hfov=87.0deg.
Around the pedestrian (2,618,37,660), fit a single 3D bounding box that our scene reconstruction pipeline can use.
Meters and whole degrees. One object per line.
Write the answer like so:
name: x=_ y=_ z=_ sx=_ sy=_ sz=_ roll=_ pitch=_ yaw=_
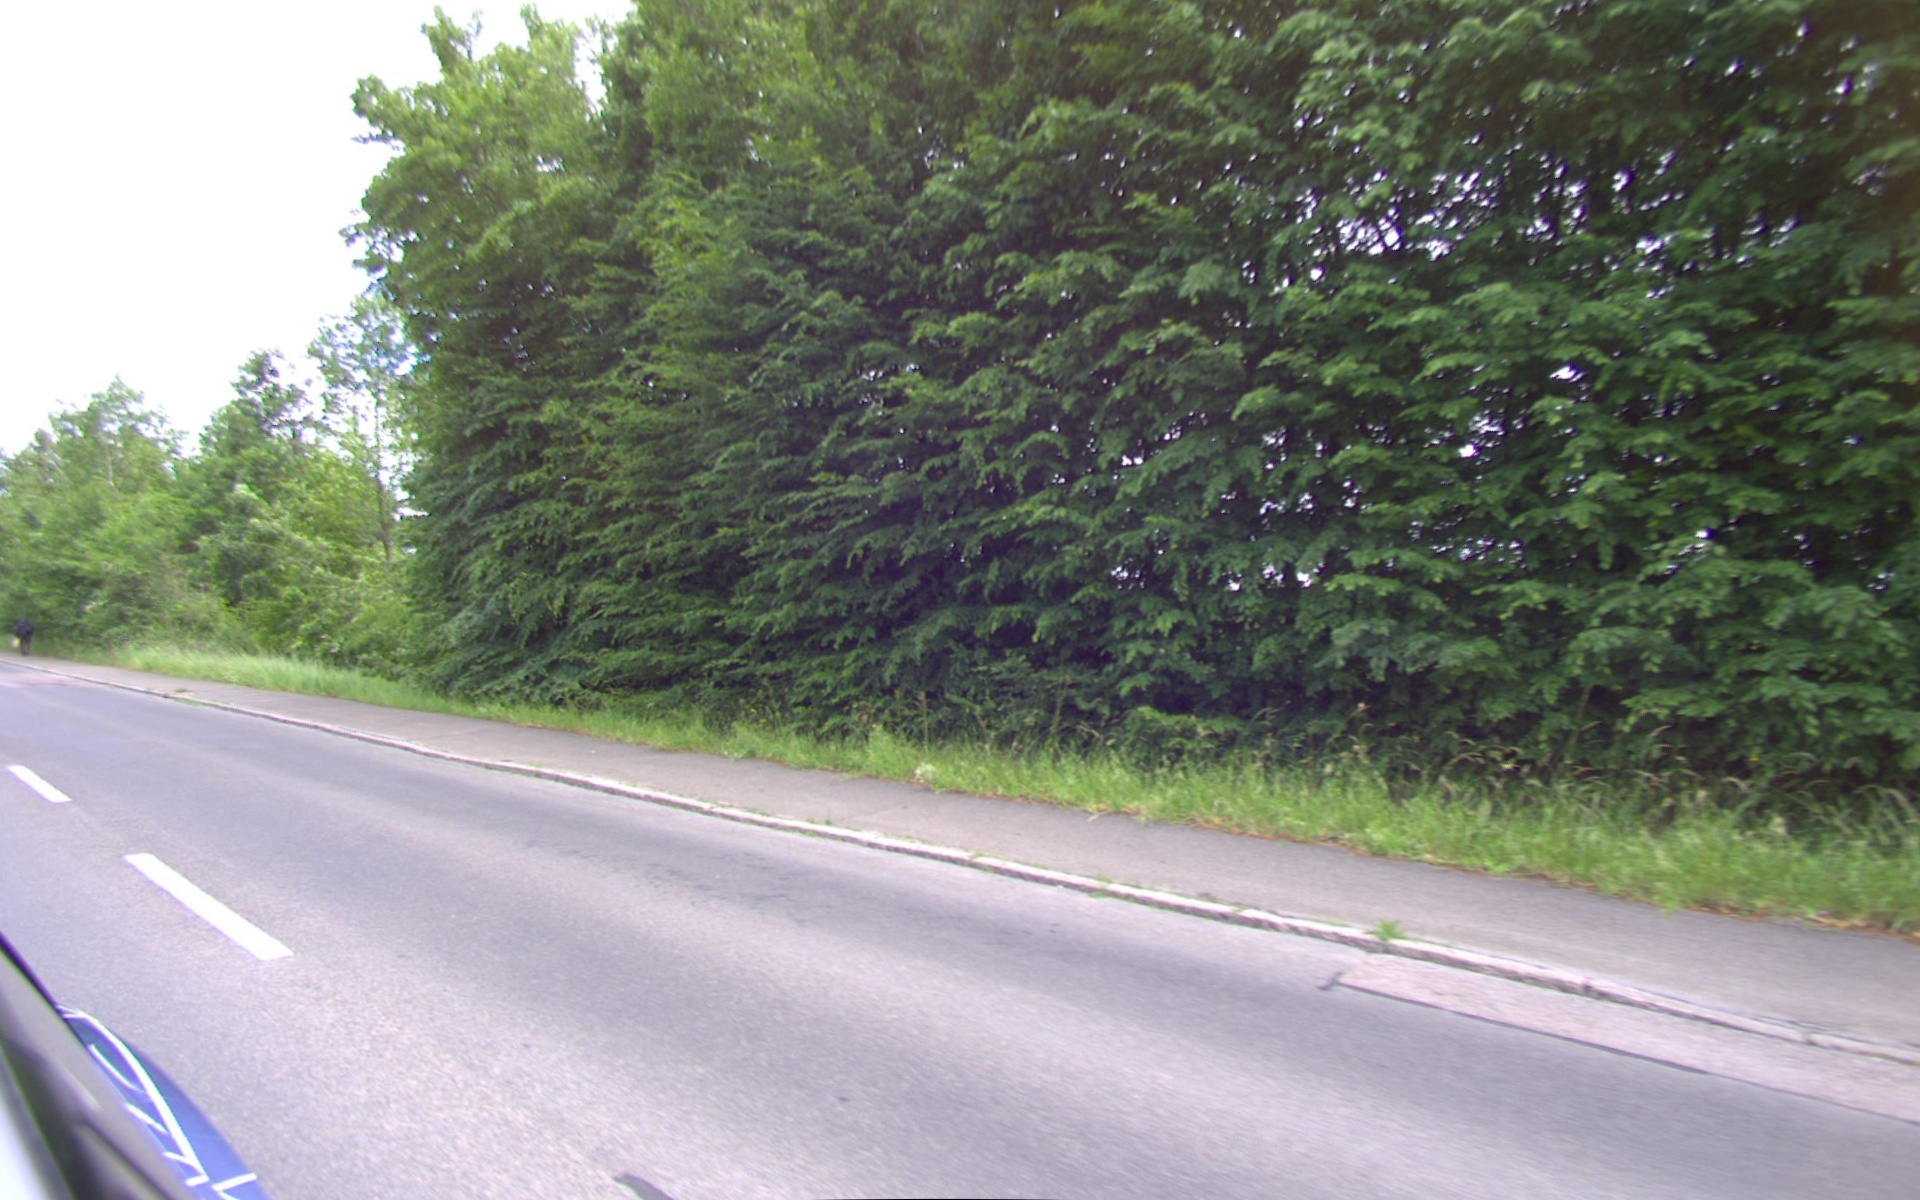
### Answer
pedestrian: x=-40.891 y=1.708 z=44.014 sx=0.788 sy=1.783 sz=0.860 roll=-2 pitch=-6 yaw=36
